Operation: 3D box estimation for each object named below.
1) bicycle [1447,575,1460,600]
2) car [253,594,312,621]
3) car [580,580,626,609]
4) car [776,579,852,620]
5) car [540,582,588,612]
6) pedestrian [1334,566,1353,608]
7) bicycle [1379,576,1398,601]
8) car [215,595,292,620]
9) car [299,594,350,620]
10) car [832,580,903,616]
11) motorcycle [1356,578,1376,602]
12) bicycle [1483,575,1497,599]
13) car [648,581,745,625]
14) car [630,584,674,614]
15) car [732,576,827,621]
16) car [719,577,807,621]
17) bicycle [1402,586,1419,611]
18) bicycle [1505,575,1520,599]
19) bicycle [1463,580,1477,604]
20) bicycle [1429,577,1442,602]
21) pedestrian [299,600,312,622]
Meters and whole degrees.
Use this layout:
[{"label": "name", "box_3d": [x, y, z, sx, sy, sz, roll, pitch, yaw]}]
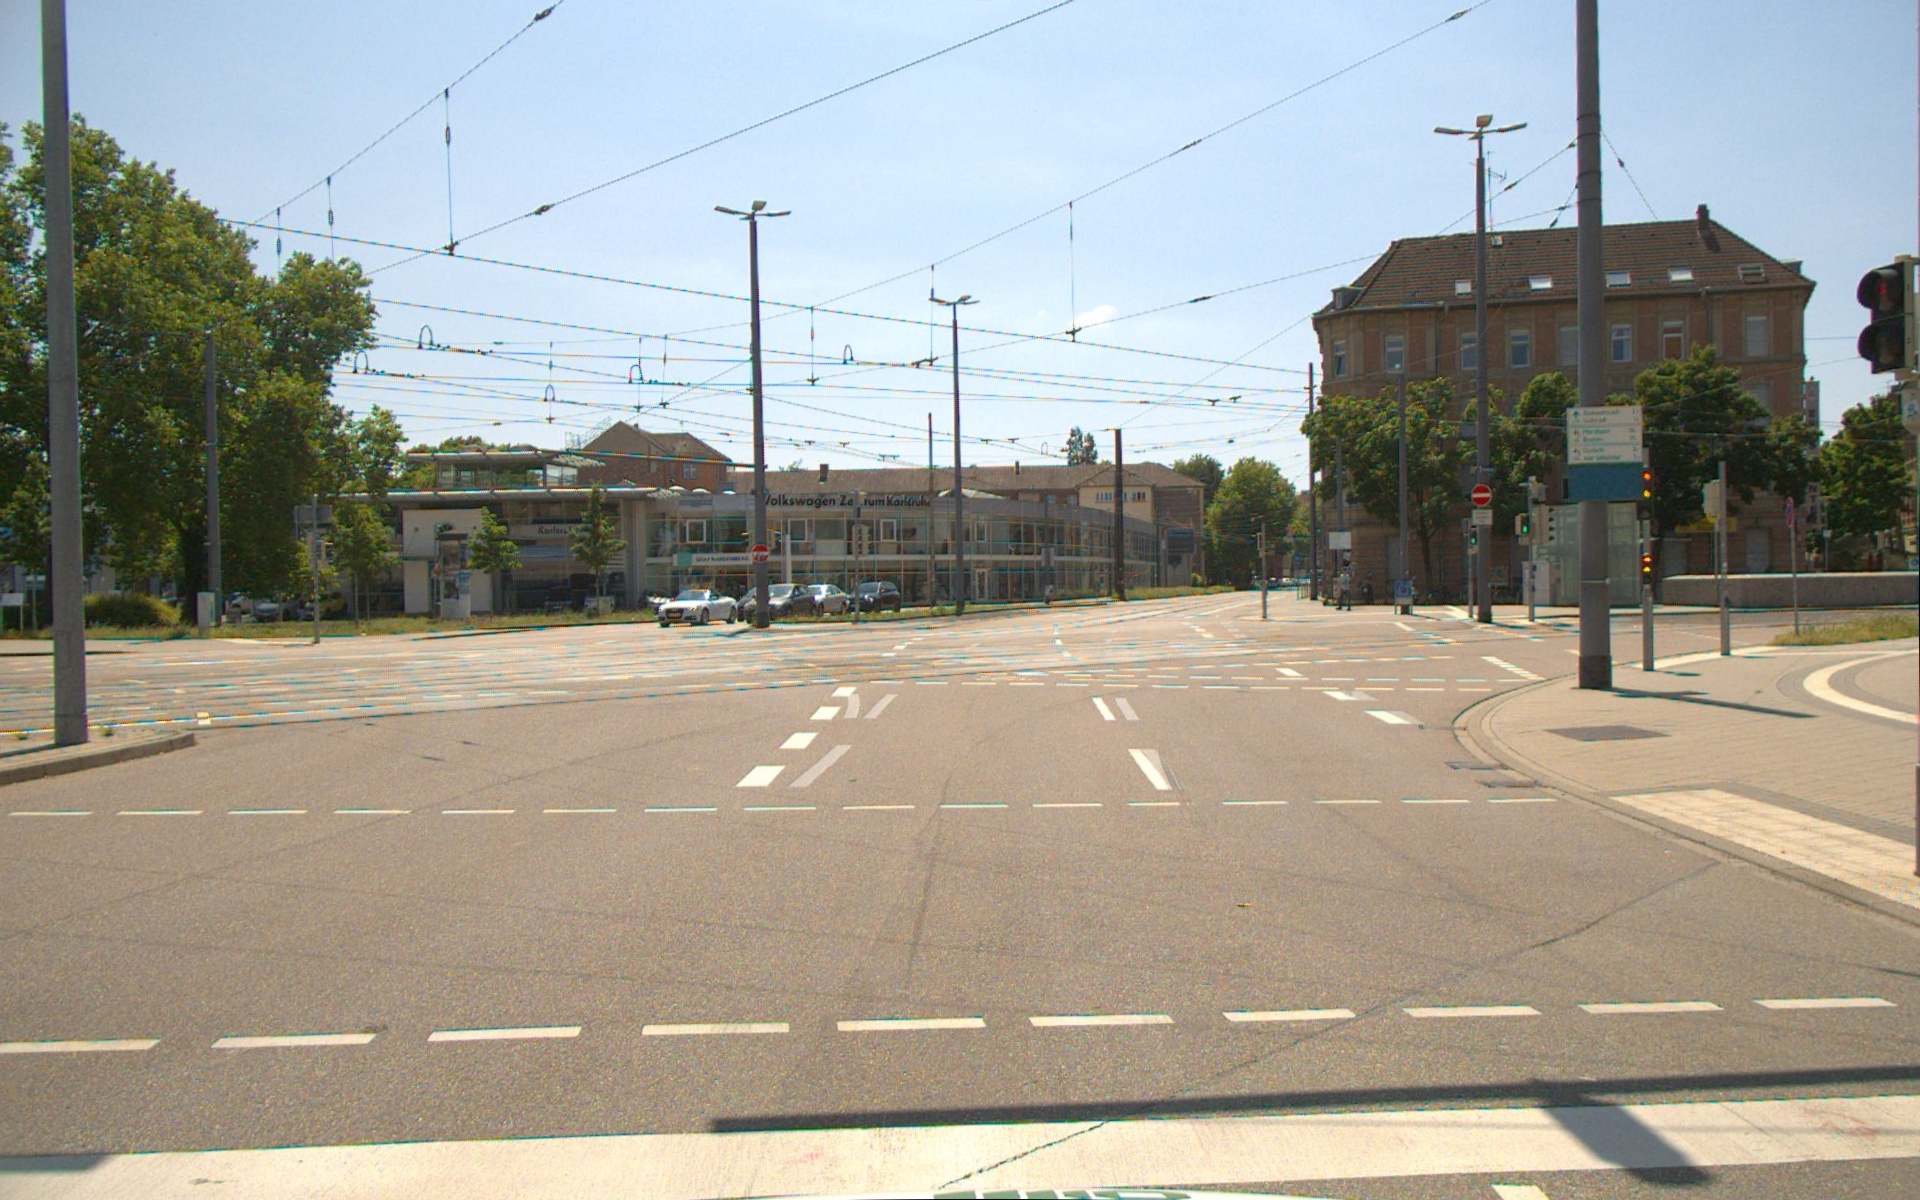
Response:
[{"label": "bicycle", "box_3d": [23.510, -0.608, 78.824, 0.539, 1.139, 1.822, -1, 1, 15]}, {"label": "car", "box_3d": [-41.358, 0.458, 101.057, 1.731, 1.536, 4.327, -1, 1, 0]}, {"label": "car", "box_3d": [-21.495, -0.312, 99.734, 1.881, 1.737, 4.000, 1, 0, 0]}, {"label": "car", "box_3d": [-6.688, -0.035, 76.125, 1.951, 1.770, 4.546, -1, 1, 16]}, {"label": "car", "box_3d": [-23.833, -0.152, 99.678, 1.881, 1.737, 4.000, 1, 0, 0]}, {"label": "pedestrian", "box_3d": [15.880, -0.540, 68.478, 0.455, 1.738, 0.634, -1, 0, -26]}, {"label": "bicycle", "box_3d": [20.568, -0.557, 79.429, 0.539, 1.139, 1.821, -1, 1, 4]}, {"label": "car", "box_3d": [-45.454, 0.473, 106.446, 4.279, 1.536, 1.750, -1, 1, -36]}, {"label": "car", "box_3d": [-38.580, 0.407, 100.522, 1.732, 1.536, 4.322, -1, 1, -5]}, {"label": "car", "box_3d": [-4.594, -0.146, 83.049, 2.034, 1.712, 4.850, -1, 1, 16]}, {"label": "motorcycle", "box_3d": [19.478, -0.487, 79.450, 0.568, 1.093, 1.947, -1, 1, 3]}, {"label": "bicycle", "box_3d": [25.349, -0.624, 79.170, 0.539, 1.139, 1.872, -1, 1, 15]}, {"label": "car", "box_3d": [-10.146, 0.099, 64.026, 2.032, 1.607, 4.850, -1, 1, 13]}, {"label": "car", "box_3d": [-18.597, -0.060, 100.070, 1.881, 1.737, 4.000, 1, 0, 0]}, {"label": "car", "box_3d": [-6.966, -0.079, 64.385, 1.951, 1.666, 4.850, -1, 1, 16]}, {"label": "car", "box_3d": [-8.308, -0.069, 70.193, 1.951, 1.730, 4.850, -1, 1, 16]}, {"label": "bicycle", "box_3d": [21.675, -0.052, 79.532, 0.433, 1.166, 2.095, 1, 0, 6]}, {"label": "bicycle", "box_3d": [26.510, -0.633, 79.348, 0.539, 1.139, 1.931, -1, 1, 15]}, {"label": "bicycle", "box_3d": [24.251, -0.378, 78.701, 0.539, 1.139, 1.891, -1, 1, 15]}, {"label": "bicycle", "box_3d": [22.730, -0.508, 79.038, 0.539, 1.139, 1.822, -1, 1, 15]}, {"label": "pedestrian", "box_3d": [-38.423, 0.641, 97.102, 0.502, 1.225, 0.446, -1, 0, 5]}]
